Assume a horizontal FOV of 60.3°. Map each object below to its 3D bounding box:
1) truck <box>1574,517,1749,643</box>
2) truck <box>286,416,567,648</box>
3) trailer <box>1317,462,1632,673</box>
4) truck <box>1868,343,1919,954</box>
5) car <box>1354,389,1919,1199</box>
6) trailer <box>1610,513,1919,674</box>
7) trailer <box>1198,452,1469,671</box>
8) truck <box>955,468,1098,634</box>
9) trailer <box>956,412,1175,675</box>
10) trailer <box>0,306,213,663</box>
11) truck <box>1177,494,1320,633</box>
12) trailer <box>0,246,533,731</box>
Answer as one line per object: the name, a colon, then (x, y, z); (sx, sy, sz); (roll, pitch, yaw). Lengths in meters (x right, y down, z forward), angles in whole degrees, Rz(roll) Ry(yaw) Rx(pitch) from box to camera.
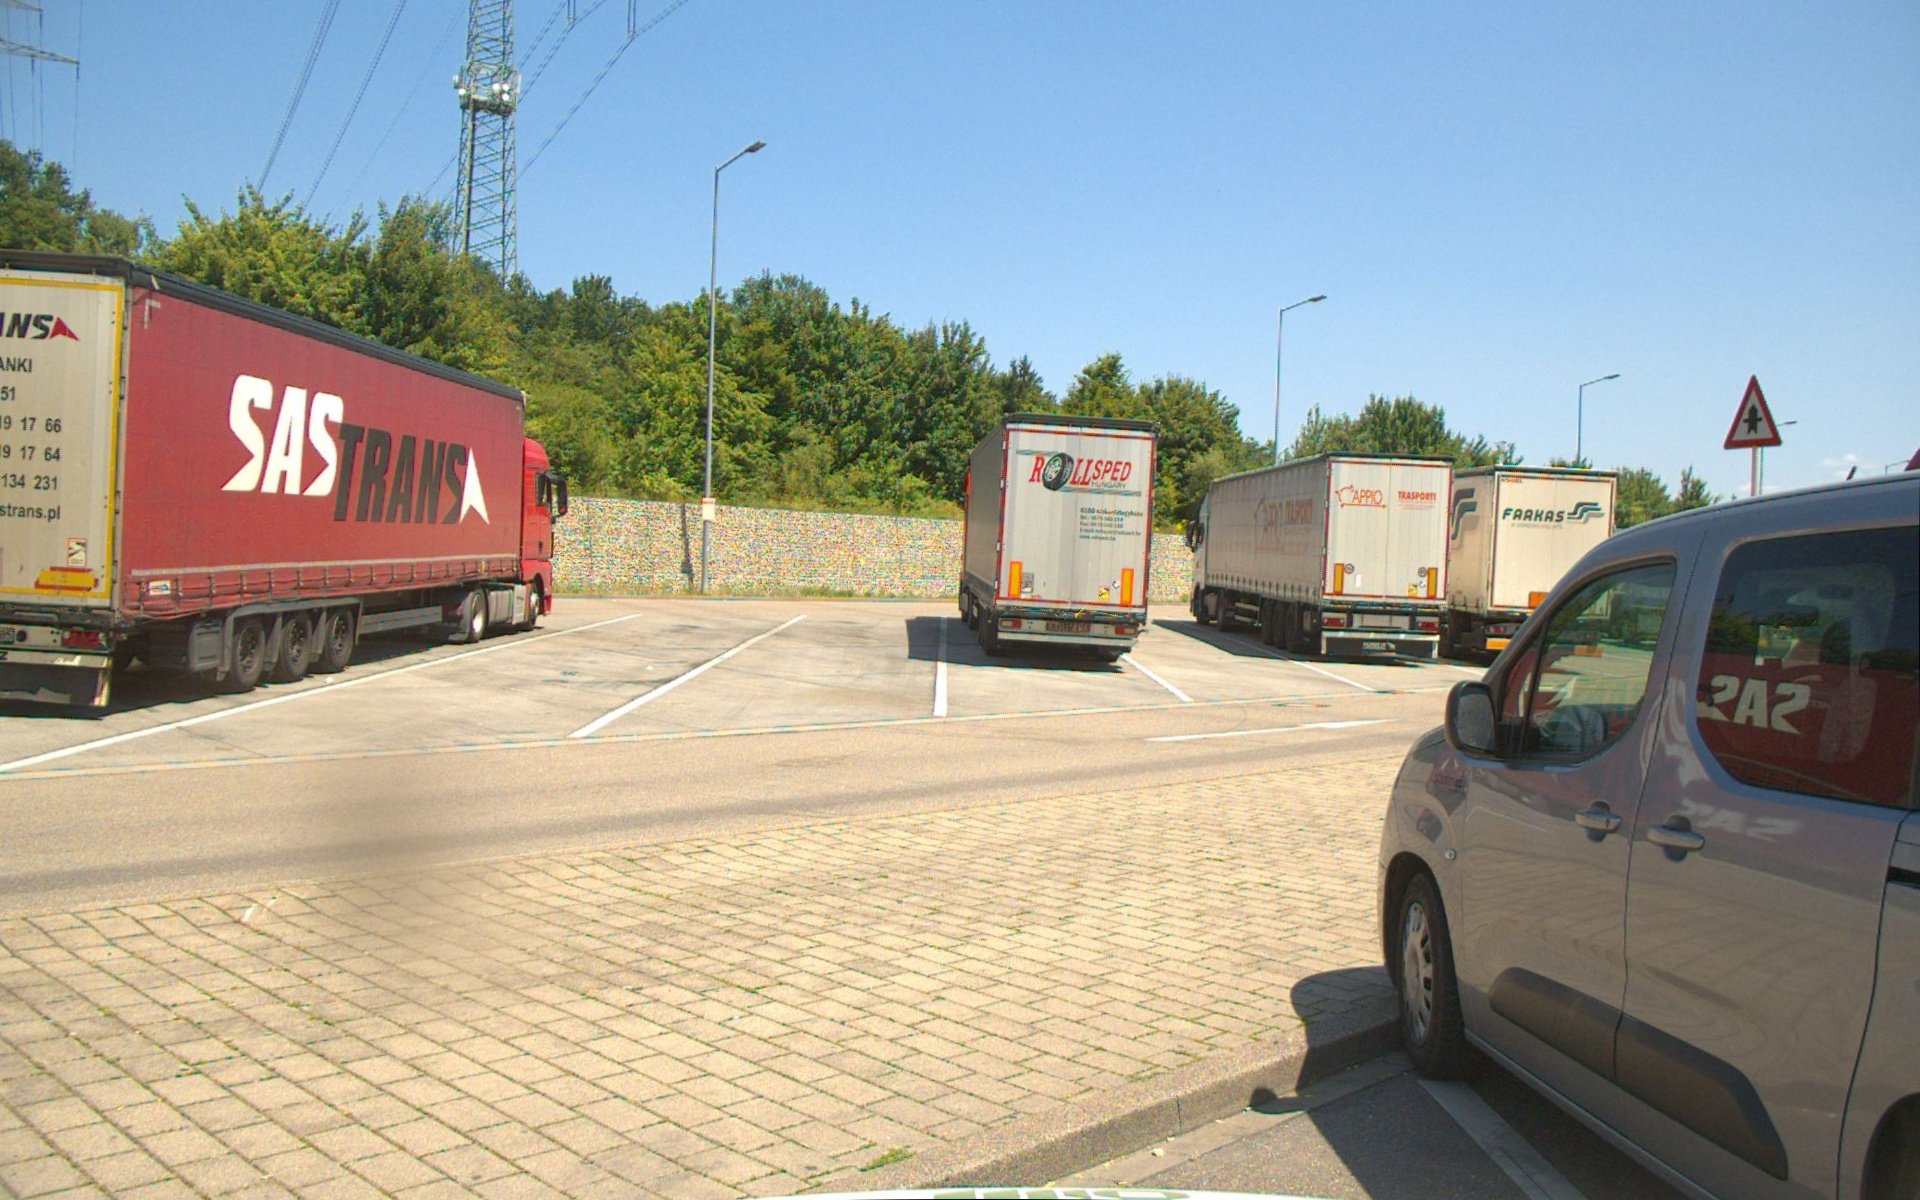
truck: (21.776, -0.695, 51.721); (2.746, 3.582, 5.900); (3, 2, -1)
truck: (-8.785, -1.144, 27.997); (2.793, 3.385, 5.900); (3, 2, -1)
trailer: (11.741, -0.933, 39.942); (2.754, 4.058, 14.395); (3, 2, -1)
truck: (5.003, 0.203, 4.968); (1.937, 2.668, 5.307); (1, 0, 4)
car: (2.441, 0.606, 3.845); (1.832, 1.896, 4.174); (3, 1, -2)
trailer: (21.852, -0.390, 44.491); (2.754, 3.568, 14.395); (3, 2, -1)
trailer: (8.179, -1.026, 38.838); (2.754, 4.058, 14.395); (3, 2, -1)
truck: (1.509, -1.235, 40.521); (3.041, 3.628, 5.900); (3, 2, -1)
trailer: (1.665, -1.189, 33.631); (3.070, 4.058, 14.393); (3, 2, -1)
trailer: (-12.548, -1.329, 17.704); (2.739, 4.155, 14.131); (3, 2, -1)
truck: (8.063, -1.089, 46.938); (2.804, 3.582, 5.900); (3, 2, -1)
trailer: (-8.721, -1.284, 21.426); (2.735, 4.155, 14.131); (3, 2, -1)
